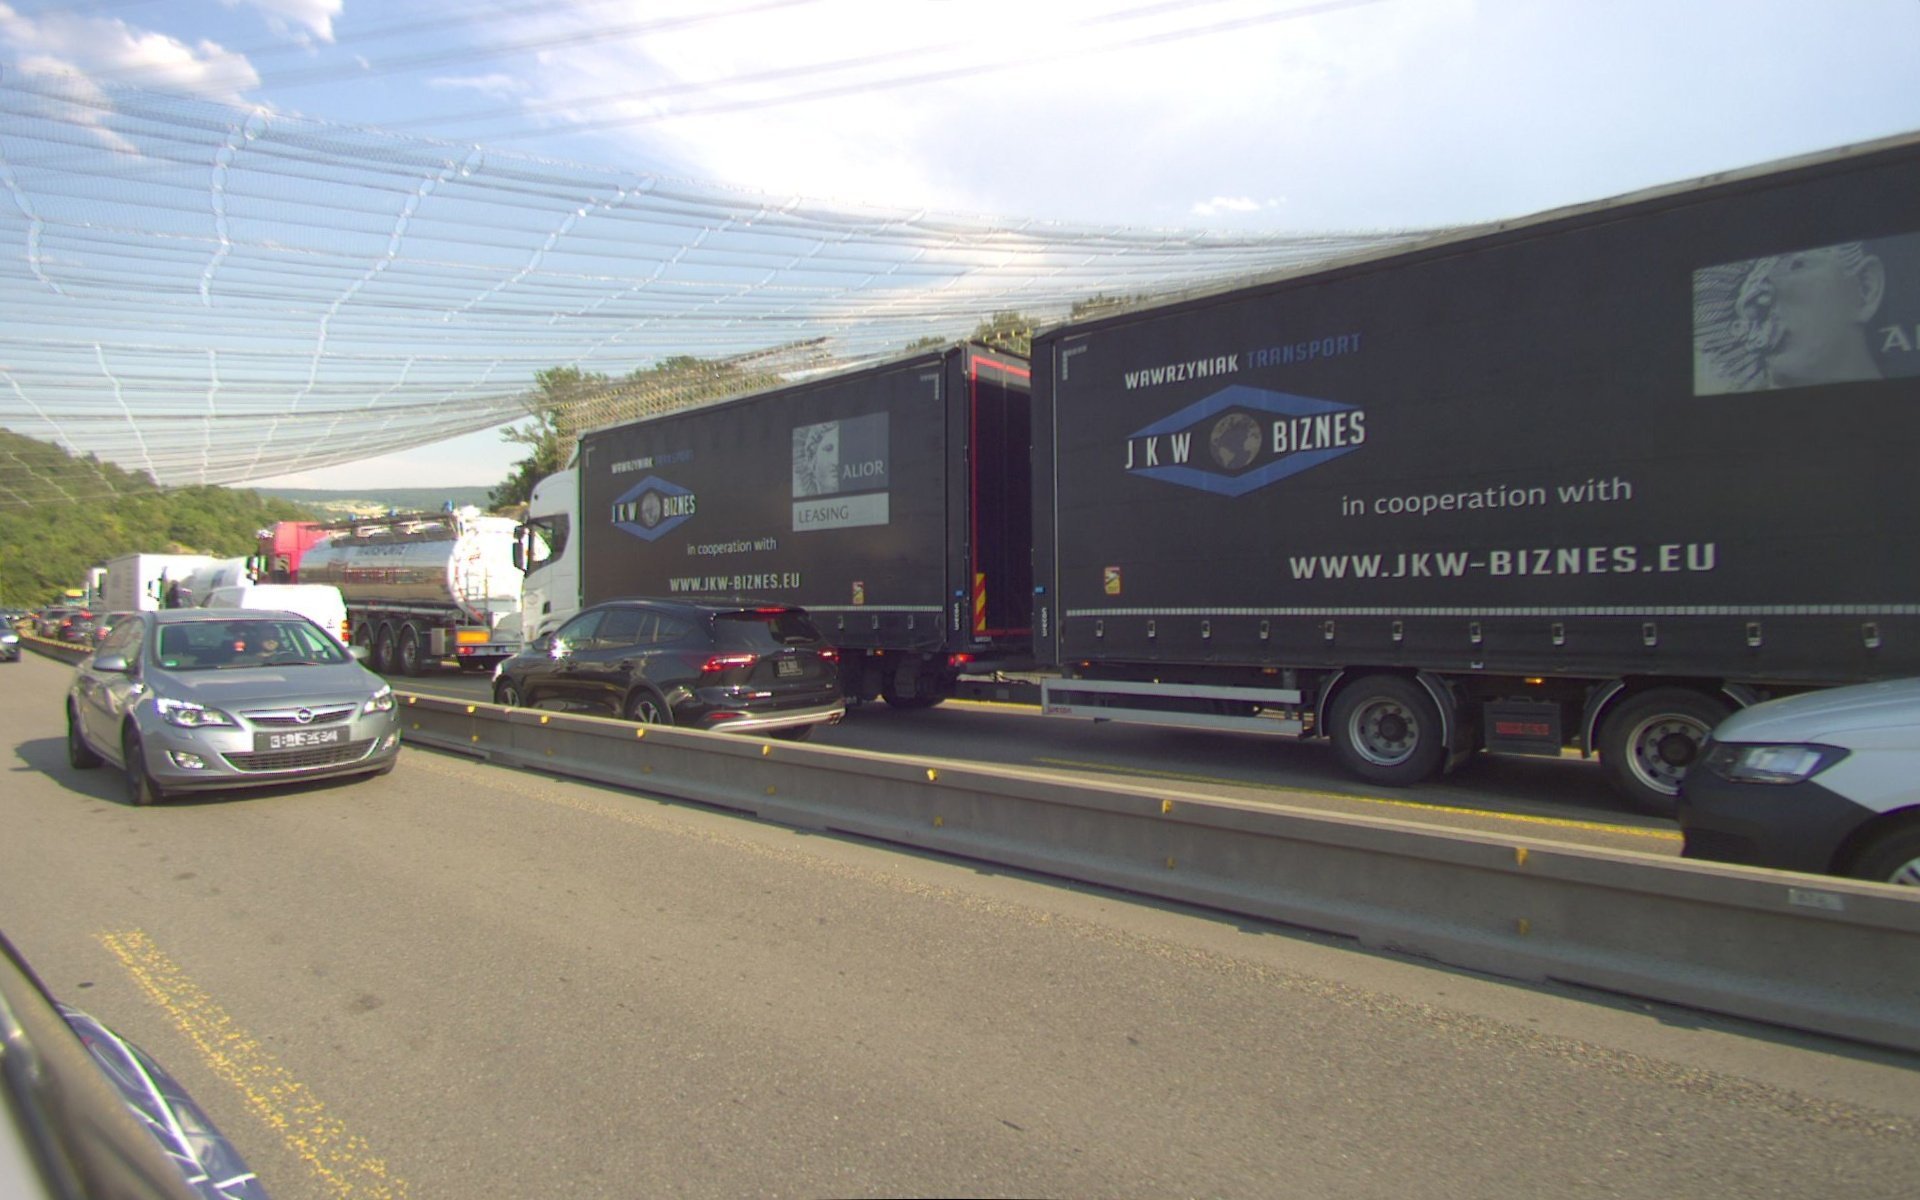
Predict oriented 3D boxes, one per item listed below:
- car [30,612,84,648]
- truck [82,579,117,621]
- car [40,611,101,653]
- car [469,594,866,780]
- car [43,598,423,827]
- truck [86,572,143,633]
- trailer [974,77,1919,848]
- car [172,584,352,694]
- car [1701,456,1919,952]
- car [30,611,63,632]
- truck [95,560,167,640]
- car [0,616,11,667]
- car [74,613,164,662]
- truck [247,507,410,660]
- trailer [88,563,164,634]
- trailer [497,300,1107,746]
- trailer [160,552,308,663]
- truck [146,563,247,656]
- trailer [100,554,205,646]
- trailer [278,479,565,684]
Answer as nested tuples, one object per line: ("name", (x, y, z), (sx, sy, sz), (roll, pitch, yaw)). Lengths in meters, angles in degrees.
("car", (-43.695, 1.415, 48.944), (1.731, 1.599, 3.945), (0, 0, -45))
("truck", (-91.678, -0.011, 107.956), (2.687, 4.259, 14.192), (0, 0, -40))
("car", (-35.067, 1.230, 39.864), (3.587, 1.540, 1.490), (0, 0, 43))
("car", (-3.133, 0.702, 10.246), (4.601, 1.490, 1.662), (0, 0, 41))
("car", (-6.405, 0.743, 8.712), (4.351, 1.484, 1.737), (0, 0, 41))
("truck", (-57.569, 0.165, 68.857), (2.600, 3.939, 7.212), (0, 0, -43))
("trailer", (4.164, -0.746, 8.069), (8.538, 4.220, 2.418), (0, 0, 41))
("car", (-13.932, 0.691, 20.083), (4.833, 1.940, 1.798), (0, 0, 41))
("car", (5.101, 0.346, 3.170), (4.447, 1.708, 1.740), (0, 0, 38))
("car", (-66.058, 1.531, 73.173), (3.903, 1.386, 1.589), (0, 0, 45))
("truck", (-44.889, 0.010, 54.764), (5.620, 4.076, 2.445), (0, 0, 45))
("car", (-28.760, 1.196, 29.341), (1.740, 1.394, 3.825), (0, 0, -44))
("car", (-27.170, 1.167, 32.644), (4.657, 1.437, 1.610), (0, 0, 43))
("truck", (-17.616, -0.403, 28.086), (5.616, 3.813, 2.406), (0, 0, 42))
("trailer", (-52.941, -0.071, 64.089), (2.639, 4.046, 13.343), (0, 0, -44))
("trailer", (-3.023, -0.741, 14.329), (10.508, 4.361, 2.449), (0, 0, 42))
("trailer", (-26.071, 0.259, 35.989), (12.058, 3.387, 2.281), (0, 0, 45))
("truck", (-30.246, 0.348, 40.007), (5.620, 3.395, 2.386), (0, 0, 45))
("trailer", (-39.988, 0.034, 49.827), (14.105, 3.993, 2.400), (0, 0, 45))
("trailer", (-13.150, -0.325, 23.821), (12.054, 3.818, 2.281), (0, 0, 44))
